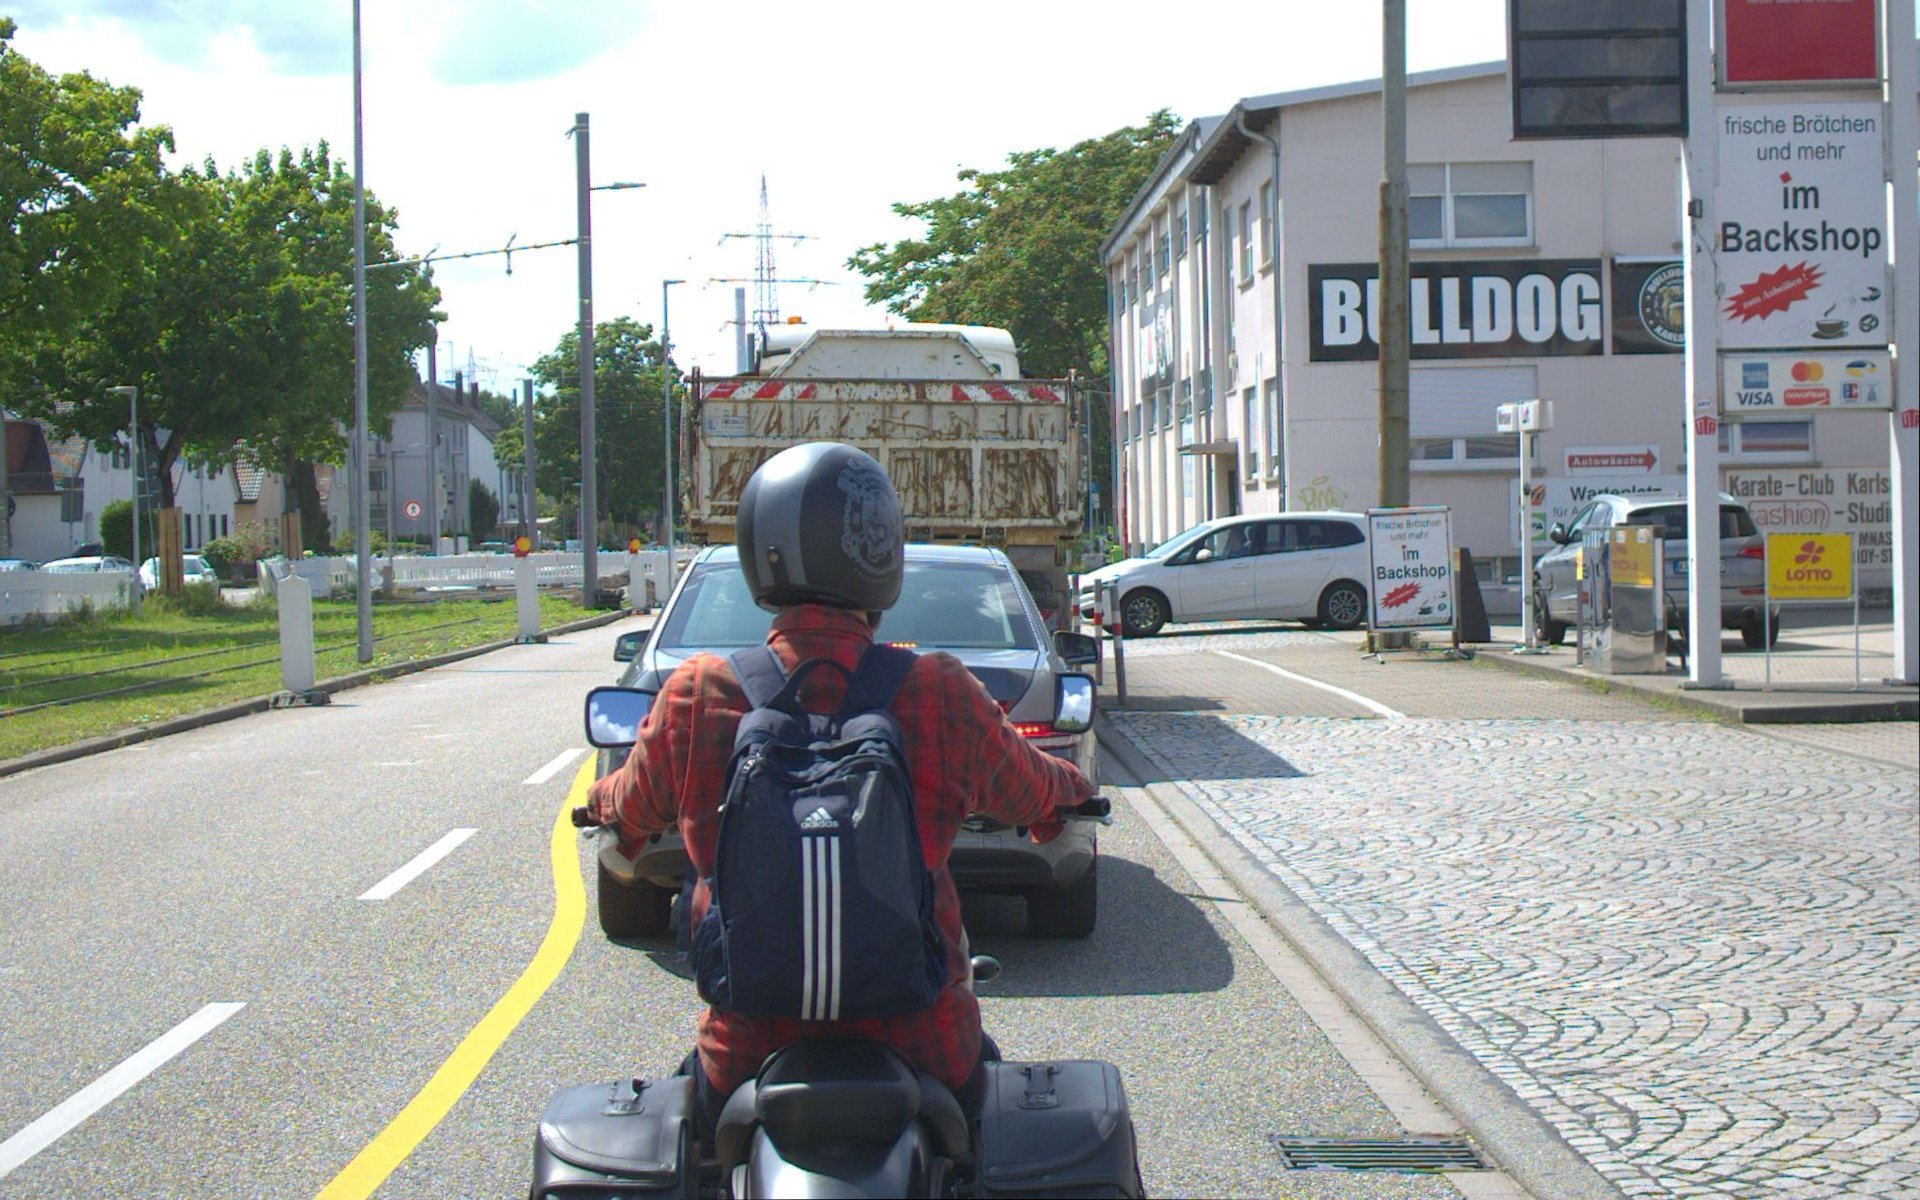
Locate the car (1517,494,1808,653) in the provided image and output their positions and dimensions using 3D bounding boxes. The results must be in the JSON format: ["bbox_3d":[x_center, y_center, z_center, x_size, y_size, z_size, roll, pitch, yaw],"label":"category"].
[{"bbox_3d":[7.379,-0.309,36.520,1.667,1.557,4.245,-1,1,-8],"label":"car"}]

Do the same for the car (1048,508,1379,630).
[{"bbox_3d":[3.444,-0.439,47.042,4.229,1.537,1.673,-1,1,-8],"label":"car"}]

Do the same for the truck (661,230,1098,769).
[{"bbox_3d":[-0.542,-0.715,25.362,2.638,3.285,8.057,-1,1,-1],"label":"truck"}]

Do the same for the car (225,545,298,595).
[{"bbox_3d":[-25.425,-1.115,125.238,1.776,1.717,4.128,-1,1,0],"label":"car"}]

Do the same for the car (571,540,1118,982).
[{"bbox_3d":[-0.414,0.509,13.597,1.823,1.447,4.000,1,1,-1],"label":"car"}]

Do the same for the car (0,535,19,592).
[{"bbox_3d":[-30.049,-1.073,104.402,1.776,1.717,4.128,-1,1,0],"label":"car"}]

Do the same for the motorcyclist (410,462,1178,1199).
[{"bbox_3d":[-0.214,0.617,5.026,0.979,1.597,1.088,-1,1,-1],"label":"motorcyclist"}]

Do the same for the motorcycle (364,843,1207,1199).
[{"bbox_3d":[-0.210,0.959,5.337,0.979,0.894,2.653,-1,1,-1],"label":"motorcycle"}]

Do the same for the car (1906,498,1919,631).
[{"bbox_3d":[11.734,-0.385,37.090,1.806,1.498,3.834,-1,1,-3],"label":"car"}]

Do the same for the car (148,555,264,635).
[{"bbox_3d":[-17.500,-0.139,79.957,1.776,1.717,4.128,-1,1,0],"label":"car"}]
